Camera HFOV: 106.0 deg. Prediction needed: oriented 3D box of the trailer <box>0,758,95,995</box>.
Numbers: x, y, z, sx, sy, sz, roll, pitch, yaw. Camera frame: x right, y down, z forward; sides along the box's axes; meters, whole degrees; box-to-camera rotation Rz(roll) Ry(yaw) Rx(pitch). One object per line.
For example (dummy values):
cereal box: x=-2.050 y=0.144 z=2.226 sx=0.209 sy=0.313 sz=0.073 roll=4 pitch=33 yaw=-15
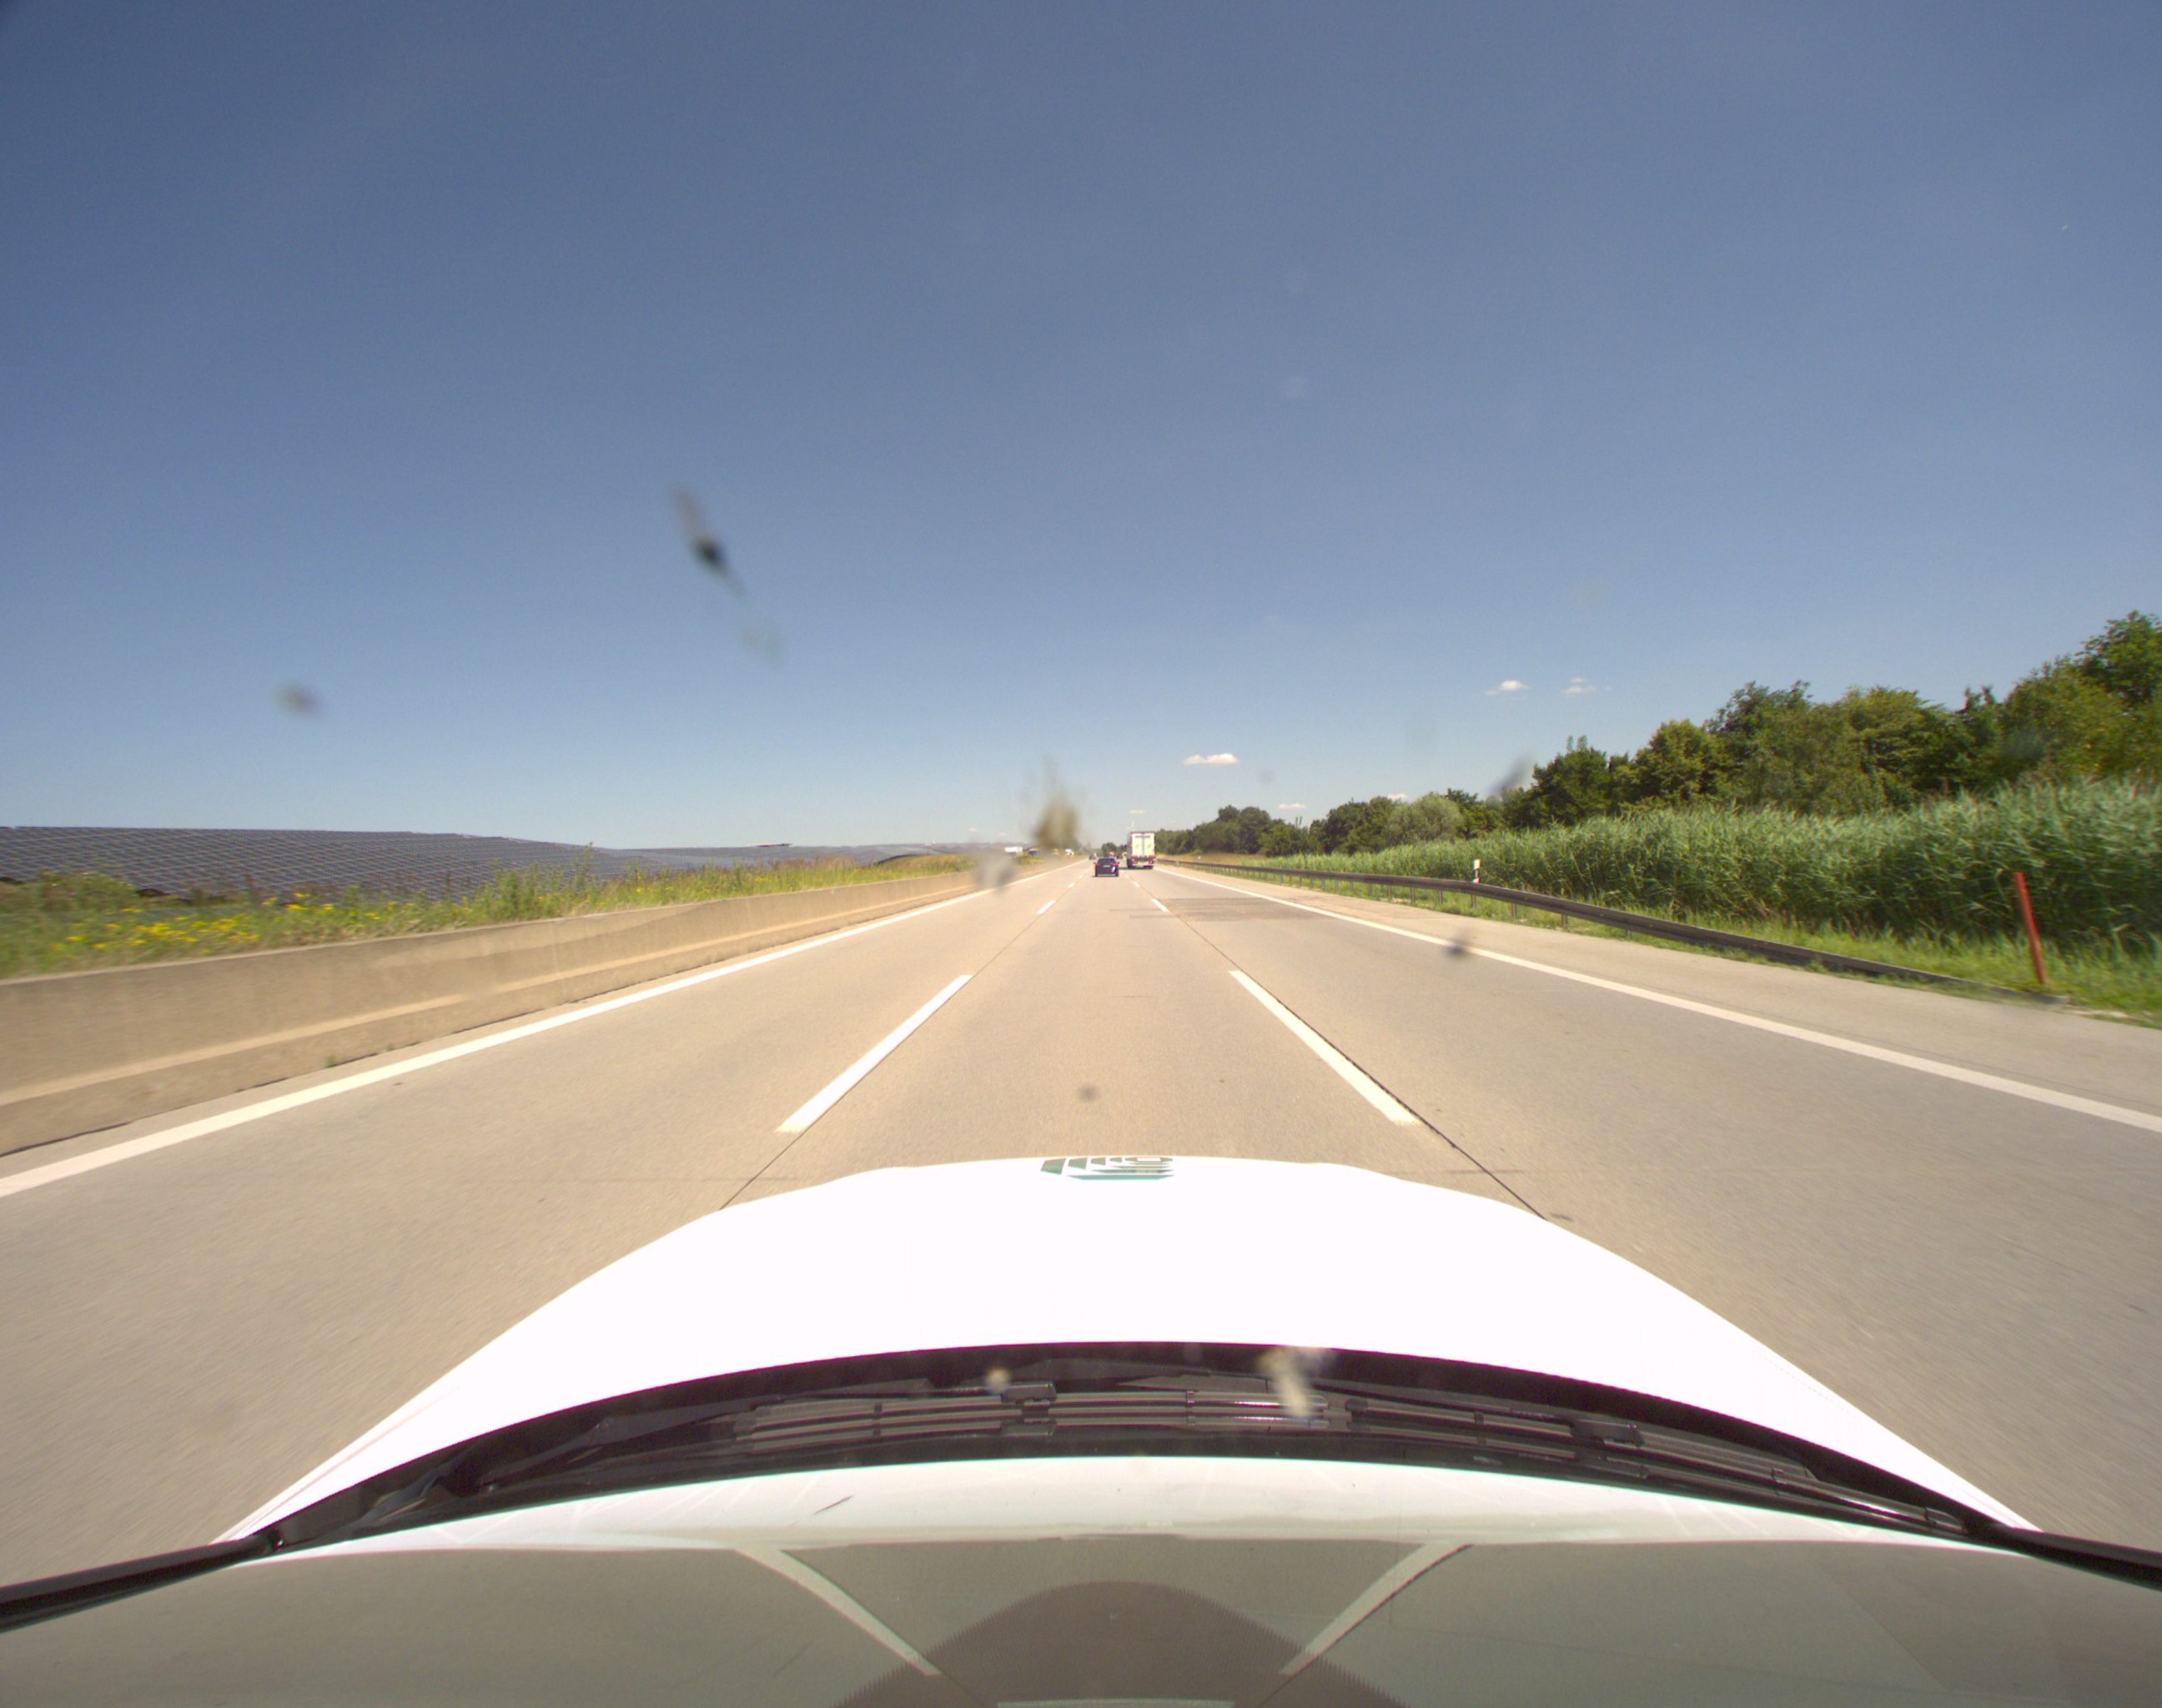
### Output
trailer: x=-20.535 y=0.405 z=10.574 sx=2.722 sy=4.191 sz=10.261 roll=-1 pitch=0 yaw=2

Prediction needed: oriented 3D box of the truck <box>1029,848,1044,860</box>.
truck: x=-11.059 y=0.050 z=203.747 sx=2.814 sy=3.064 sz=10.378 roll=0 pitch=-1 yaw=1

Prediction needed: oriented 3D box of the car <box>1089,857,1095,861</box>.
car: x=3.104 y=1.356 z=229.249 sx=1.649 sy=1.196 sz=3.961 roll=2 pitch=0 yaw=2

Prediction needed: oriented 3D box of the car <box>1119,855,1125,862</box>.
car: x=11.874 y=1.281 z=236.161 sx=1.820 sy=1.907 sz=4.002 roll=-1 pitch=-1 yaw=2

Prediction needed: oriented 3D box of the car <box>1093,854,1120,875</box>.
car: x=1.894 y=0.761 z=60.777 sx=1.903 sy=1.492 sz=4.193 roll=0 pitch=0 yaw=1

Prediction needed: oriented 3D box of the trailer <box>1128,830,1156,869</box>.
trailer: x=6.785 y=-0.473 z=92.102 sx=2.841 sy=4.042 sz=12.720 roll=0 pitch=0 yaw=2

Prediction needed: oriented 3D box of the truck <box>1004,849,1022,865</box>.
truck: x=-15.044 y=0.768 z=179.739 sx=3.110 sy=3.487 sz=6.888 roll=0 pitch=-1 yaw=2
